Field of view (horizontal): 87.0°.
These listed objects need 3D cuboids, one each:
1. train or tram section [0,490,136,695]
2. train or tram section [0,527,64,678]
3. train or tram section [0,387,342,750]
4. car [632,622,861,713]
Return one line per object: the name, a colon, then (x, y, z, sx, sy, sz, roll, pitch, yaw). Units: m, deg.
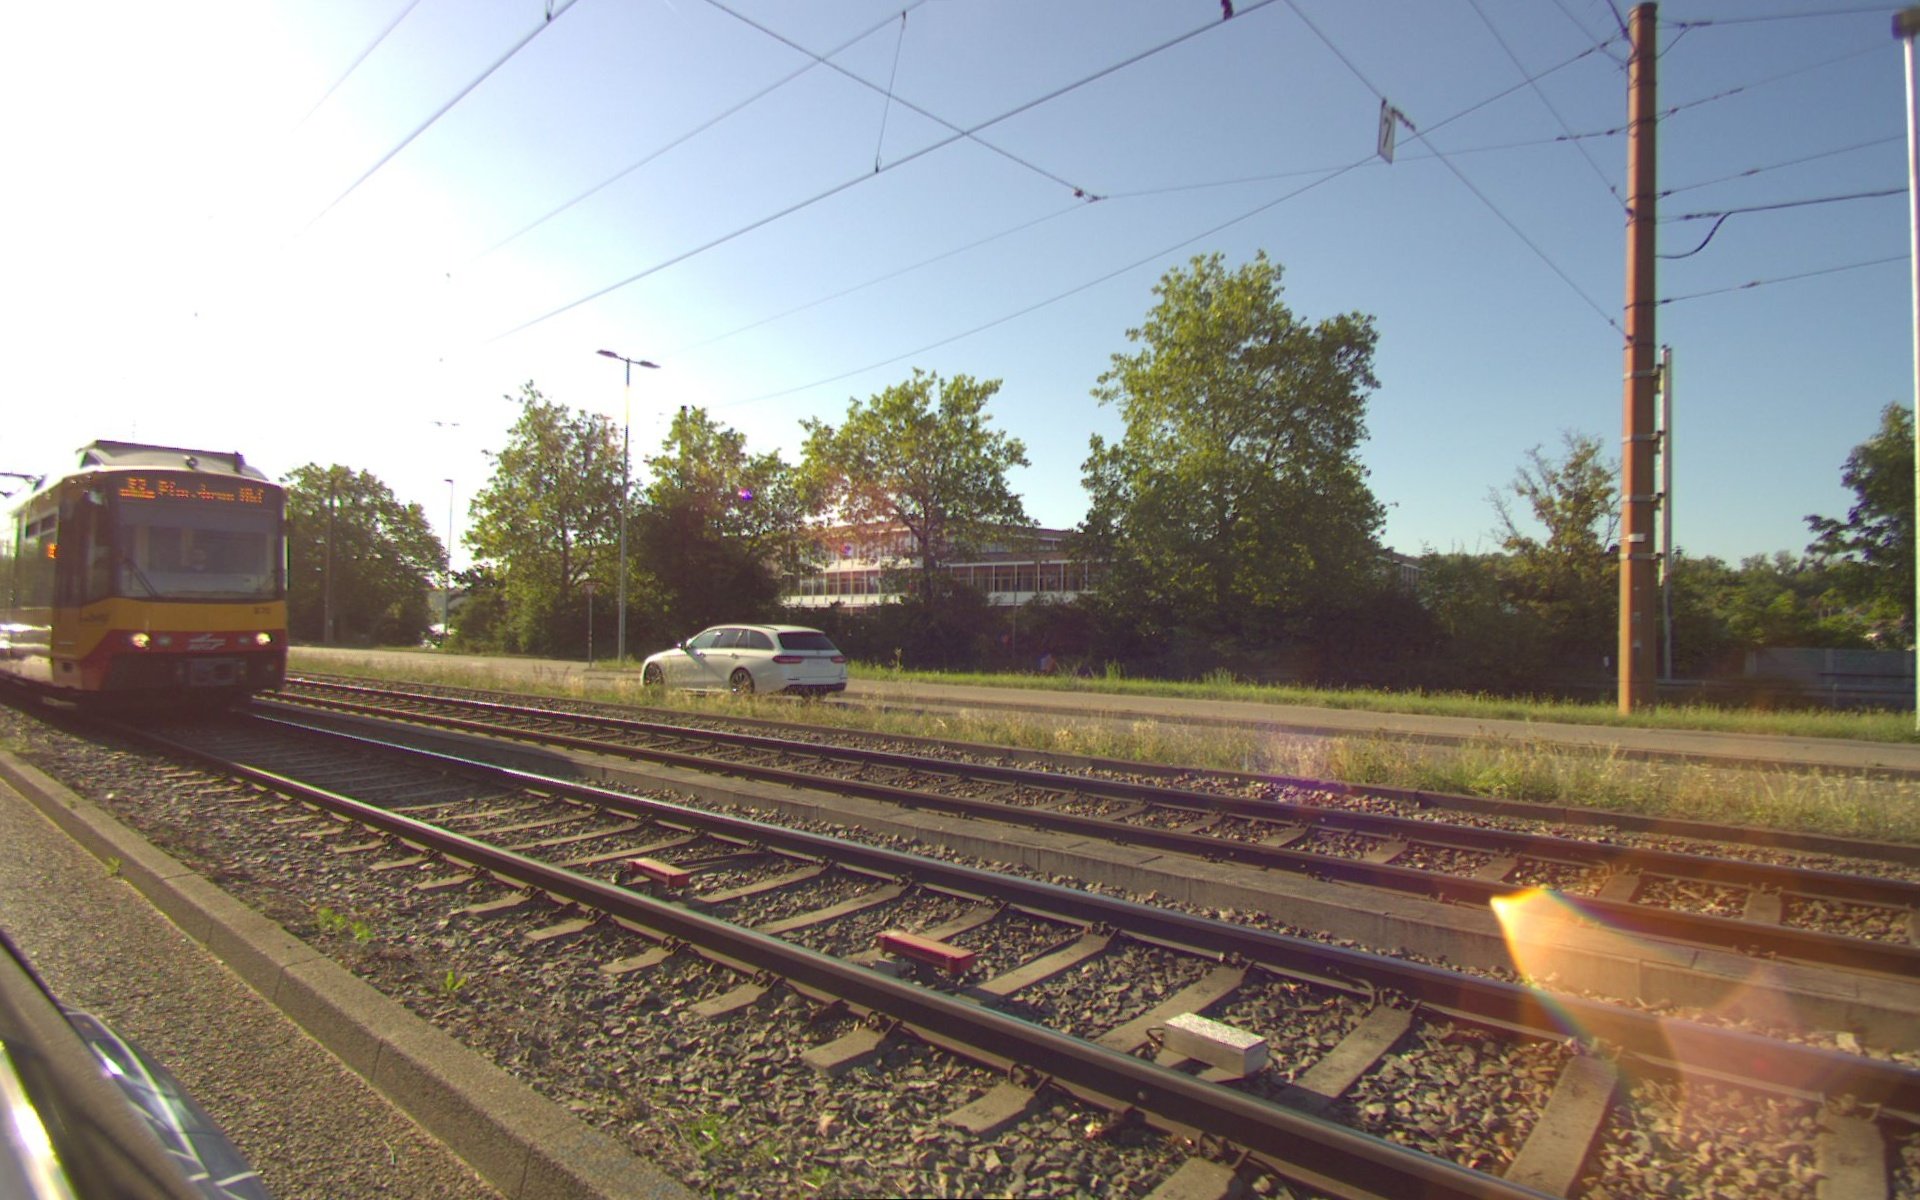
train or tram section: (-22.516, -0.038, 24.219, 9.906, 4.120, 2.666, -1, -3, 42)
train or tram section: (-31.337, 0.182, 32.019, 13.609, 4.122, 2.693, -1, -3, 41)
train or tram section: (-13.998, -0.211, 16.723, 12.806, 4.120, 2.691, -1, -3, 41)
car: (-4.231, 1.197, 19.507, 4.910, 1.423, 1.748, 1, -1, 42)
